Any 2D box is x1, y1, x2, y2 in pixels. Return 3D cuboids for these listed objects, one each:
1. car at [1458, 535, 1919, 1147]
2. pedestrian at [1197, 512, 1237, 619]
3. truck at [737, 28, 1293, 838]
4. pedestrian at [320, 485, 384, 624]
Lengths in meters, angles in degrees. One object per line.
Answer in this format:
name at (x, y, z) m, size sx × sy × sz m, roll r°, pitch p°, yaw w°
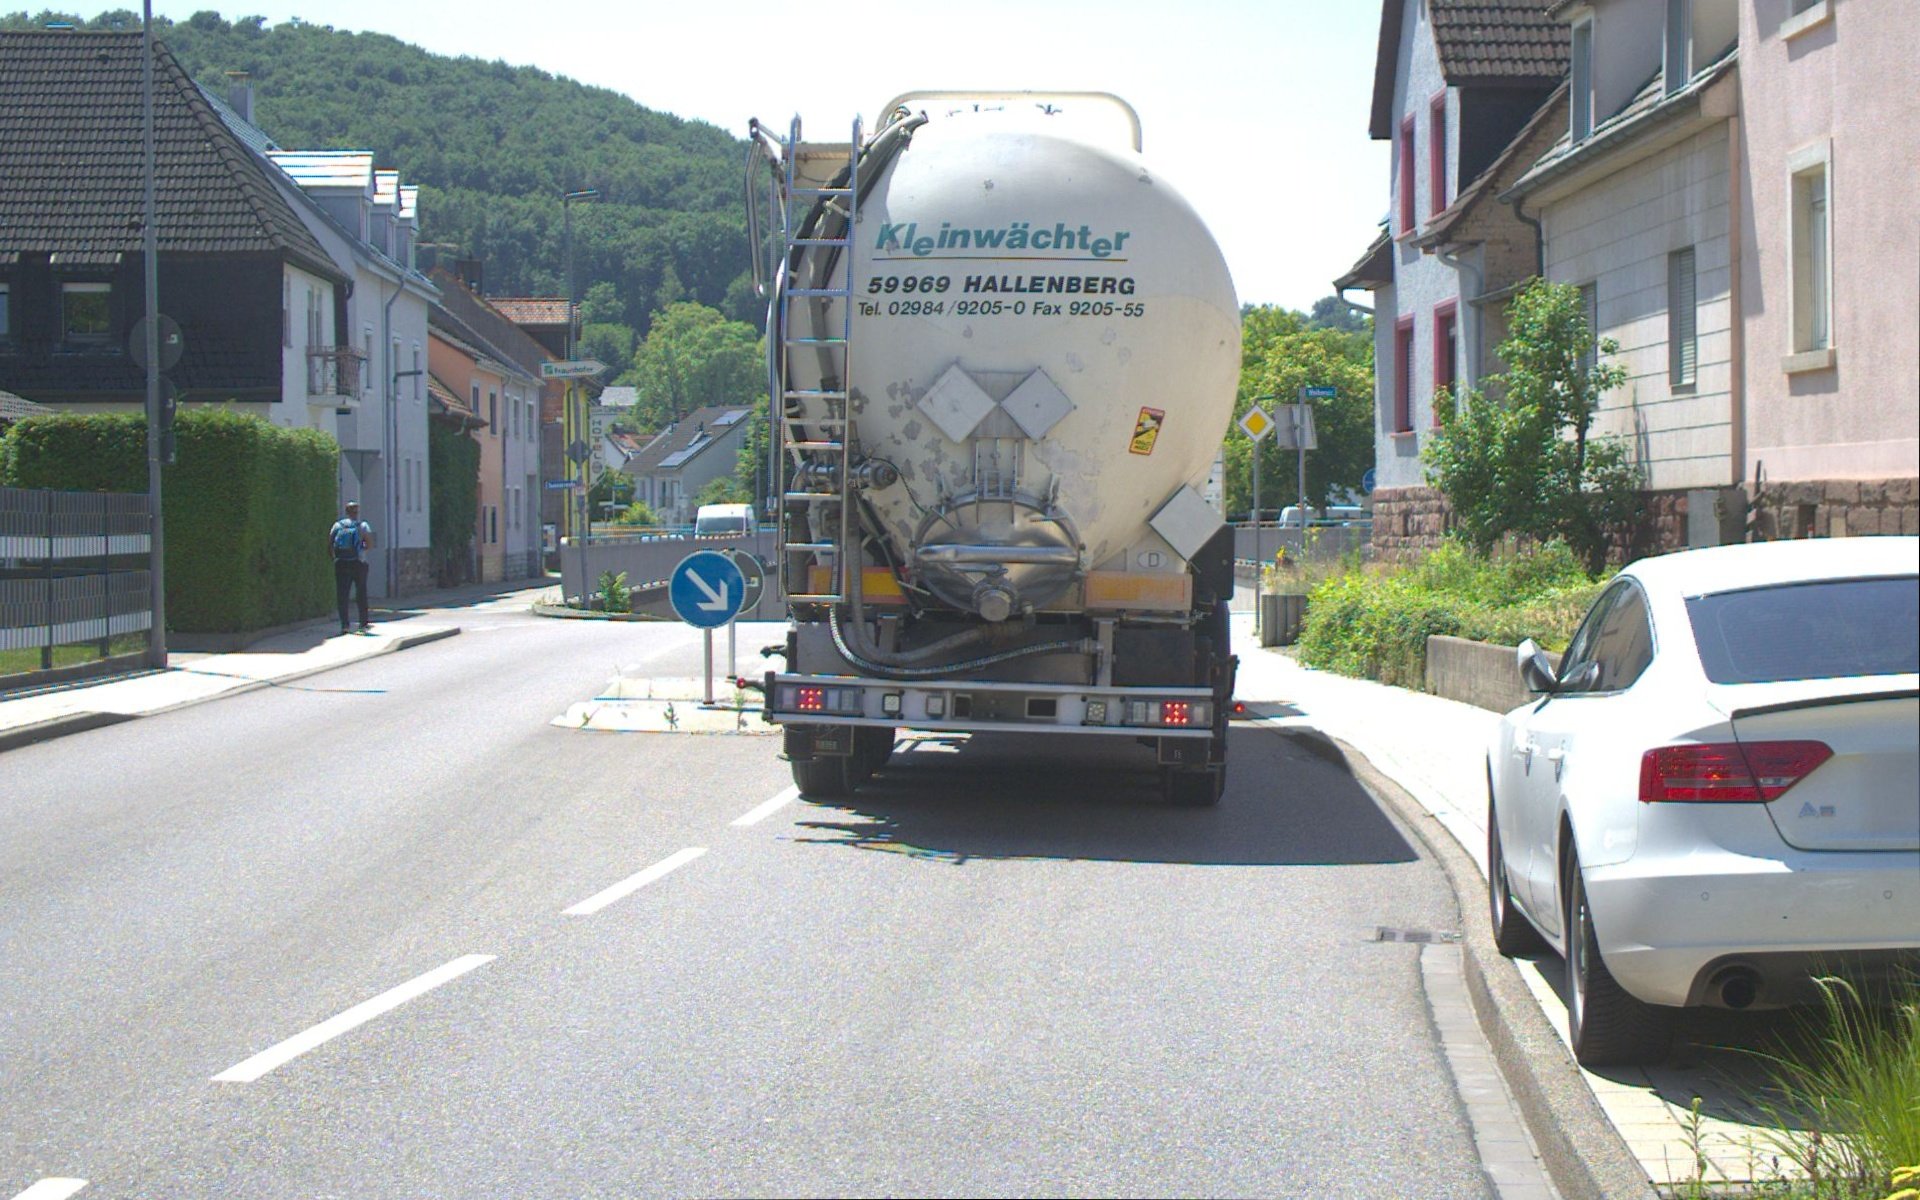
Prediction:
car at (2.542, 0.553, 10.339) m, size 1.756 × 1.413 × 4.632 m, roll -2°, pitch 0°, yaw 5°
pedestrian at (4.093, -0.551, 54.805) m, size 0.571 × 1.688 × 0.721 m, roll 2°, pitch 0°, yaw 2°
truck at (0.049, -0.946, 22.800) m, size 2.750 × 4.043 × 10.891 m, roll 1°, pitch 1°, yaw -2°
pedestrian at (-8.069, -0.600, 45.665) m, size 0.712 × 1.817 × 0.898 m, roll 2°, pitch 0°, yaw -5°
